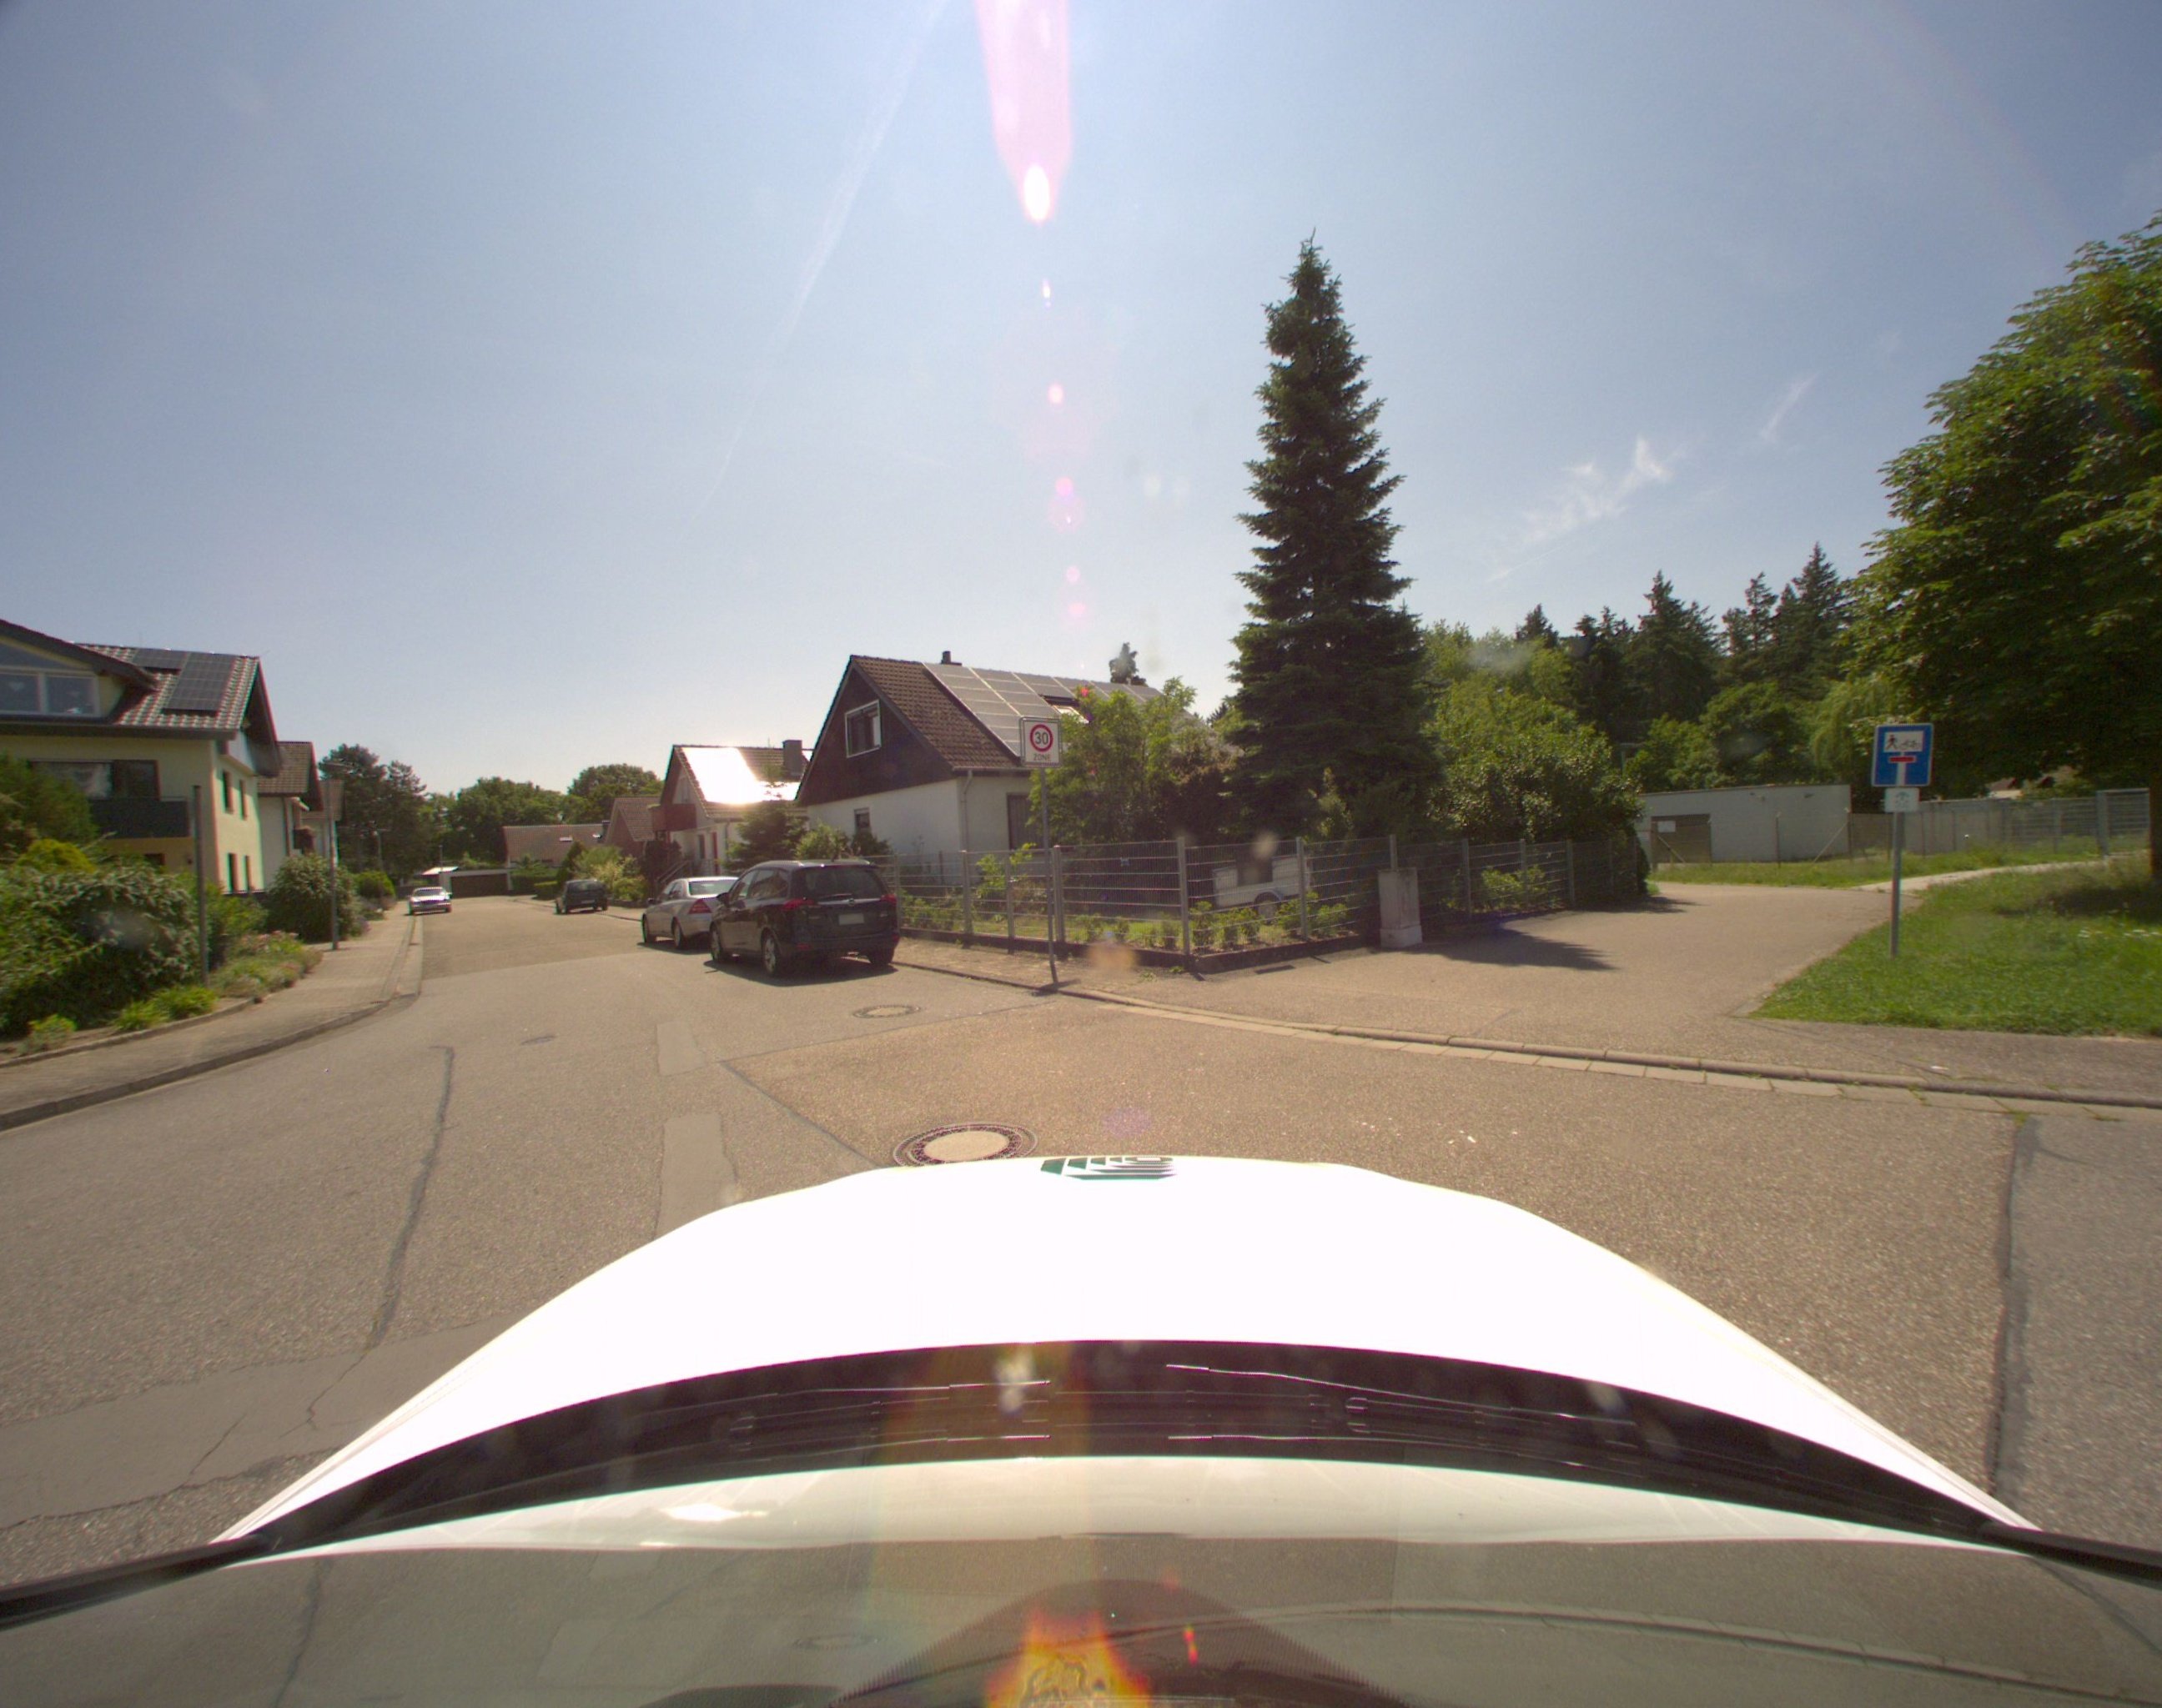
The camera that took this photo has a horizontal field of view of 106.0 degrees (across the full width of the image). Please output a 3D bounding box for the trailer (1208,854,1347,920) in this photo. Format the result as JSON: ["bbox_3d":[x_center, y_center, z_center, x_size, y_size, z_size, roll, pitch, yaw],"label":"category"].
[{"bbox_3d":[3.621,0.599,15.104,2.194,1.084,1.113,-2,1,43],"label":"trailer"}]

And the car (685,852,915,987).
[{"bbox_3d":[-4.677,0.910,13.064,1.979,1.662,4.628,-4,1,-39],"label":"car"}]

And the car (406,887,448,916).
[{"bbox_3d":[-36.414,2.613,45.348,1.713,1.392,4.286,-3,0,-39],"label":"car"}]

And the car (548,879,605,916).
[{"bbox_3d":[-22.339,1.888,36.012,1.664,1.440,3.609,-3,0,-39],"label":"car"}]

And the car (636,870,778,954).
[{"bbox_3d":[-8.079,1.161,17.391,1.701,1.460,4.286,-4,1,-39],"label":"car"}]

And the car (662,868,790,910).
[{"bbox_3d":[-14.794,1.412,34.051,4.574,1.396,1.929,-3,0,-38],"label":"car"}]
